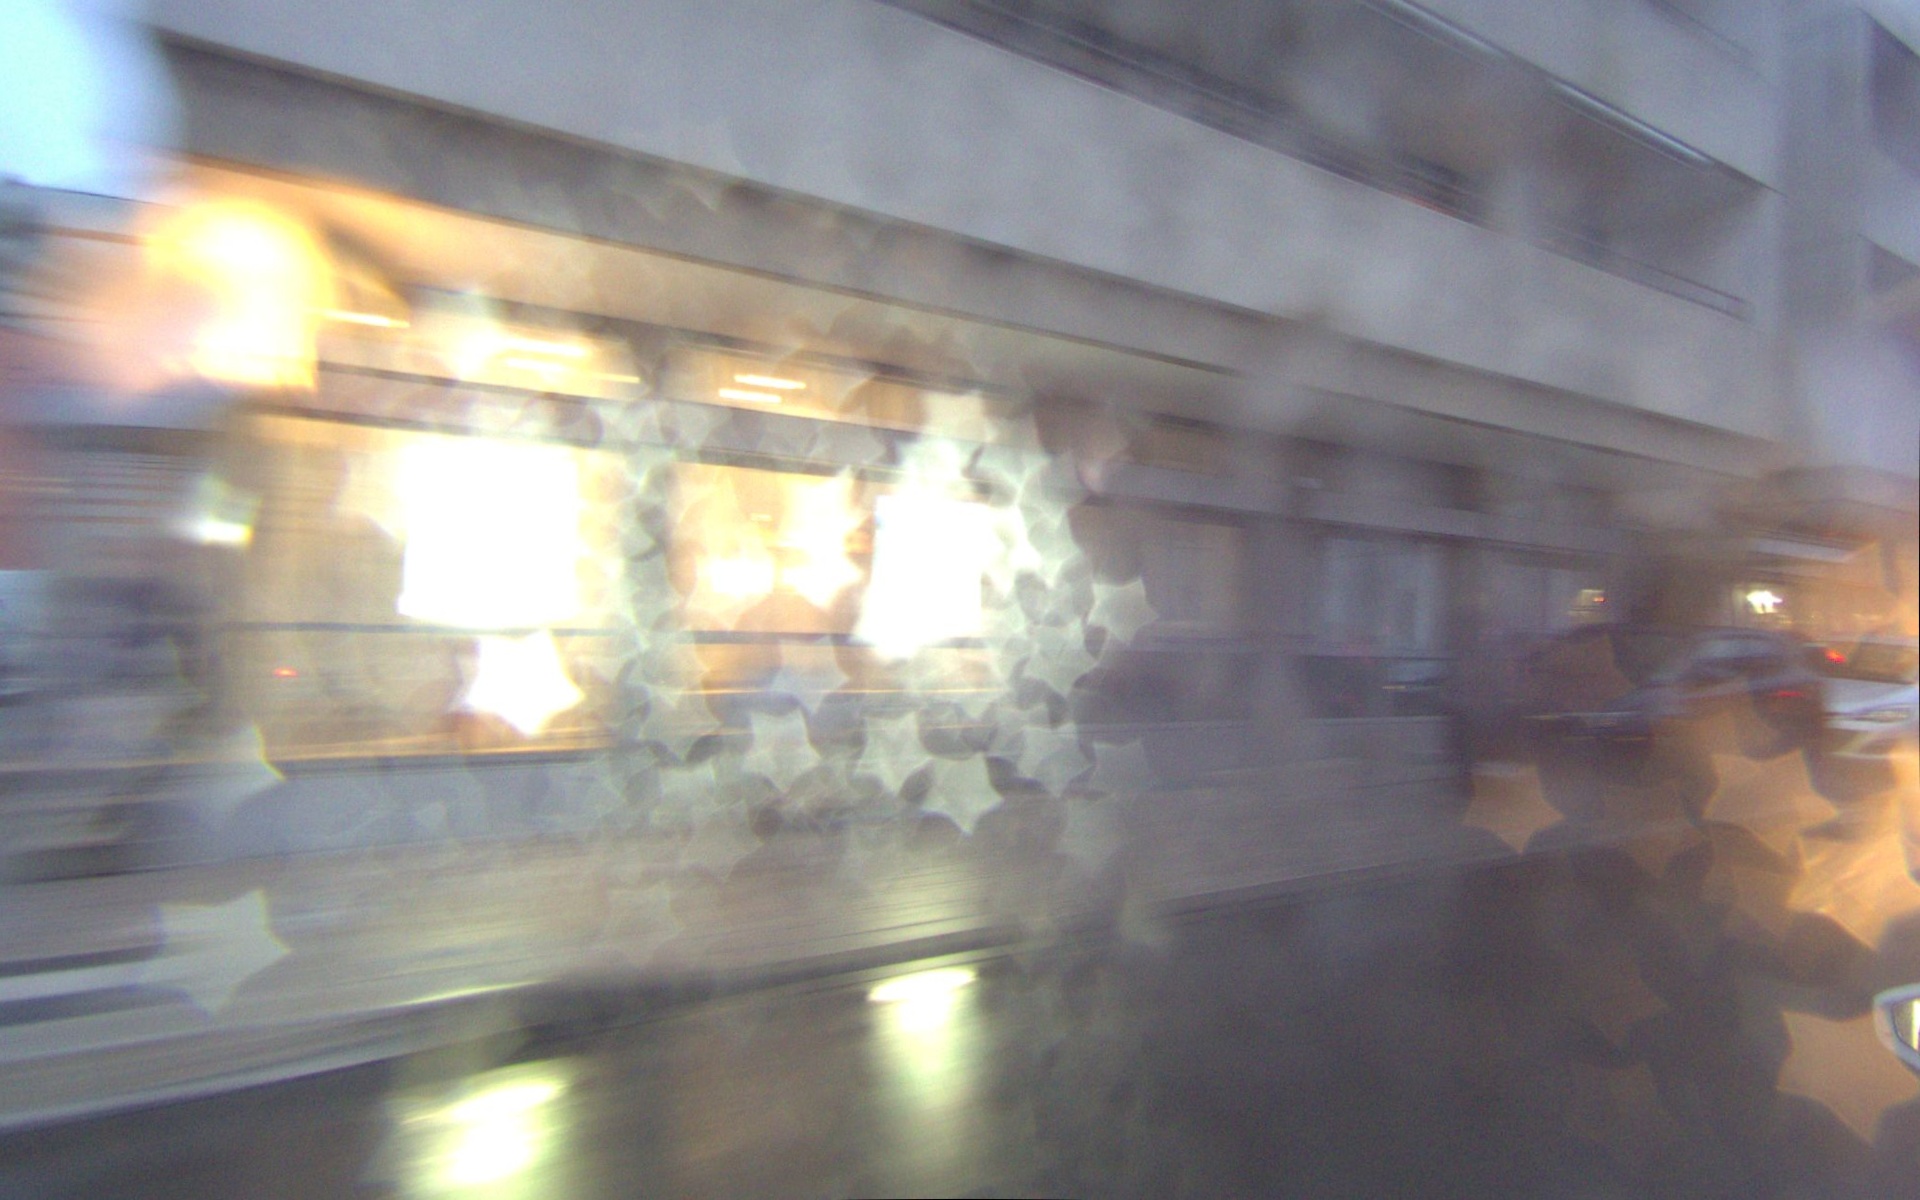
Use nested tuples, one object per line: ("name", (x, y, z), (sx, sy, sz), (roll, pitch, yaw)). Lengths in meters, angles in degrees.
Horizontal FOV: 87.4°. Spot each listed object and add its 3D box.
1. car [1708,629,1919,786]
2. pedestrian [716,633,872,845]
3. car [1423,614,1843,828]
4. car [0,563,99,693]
("car", (10.700, 1.128, 11.698), (4.378, 1.466, 1.666), (2, 0, -32))
("pedestrian", (-1.160, 0.911, 6.964), (0.819, 1.328, 0.751), (2, 0, -32))
("car", (6.206, 0.969, 9.179), (3.881, 1.553, 1.607), (2, 0, -30))
("car", (-20.333, 0.575, 19.578), (5.097, 2.525, 1.691), (0, -1, -28))
